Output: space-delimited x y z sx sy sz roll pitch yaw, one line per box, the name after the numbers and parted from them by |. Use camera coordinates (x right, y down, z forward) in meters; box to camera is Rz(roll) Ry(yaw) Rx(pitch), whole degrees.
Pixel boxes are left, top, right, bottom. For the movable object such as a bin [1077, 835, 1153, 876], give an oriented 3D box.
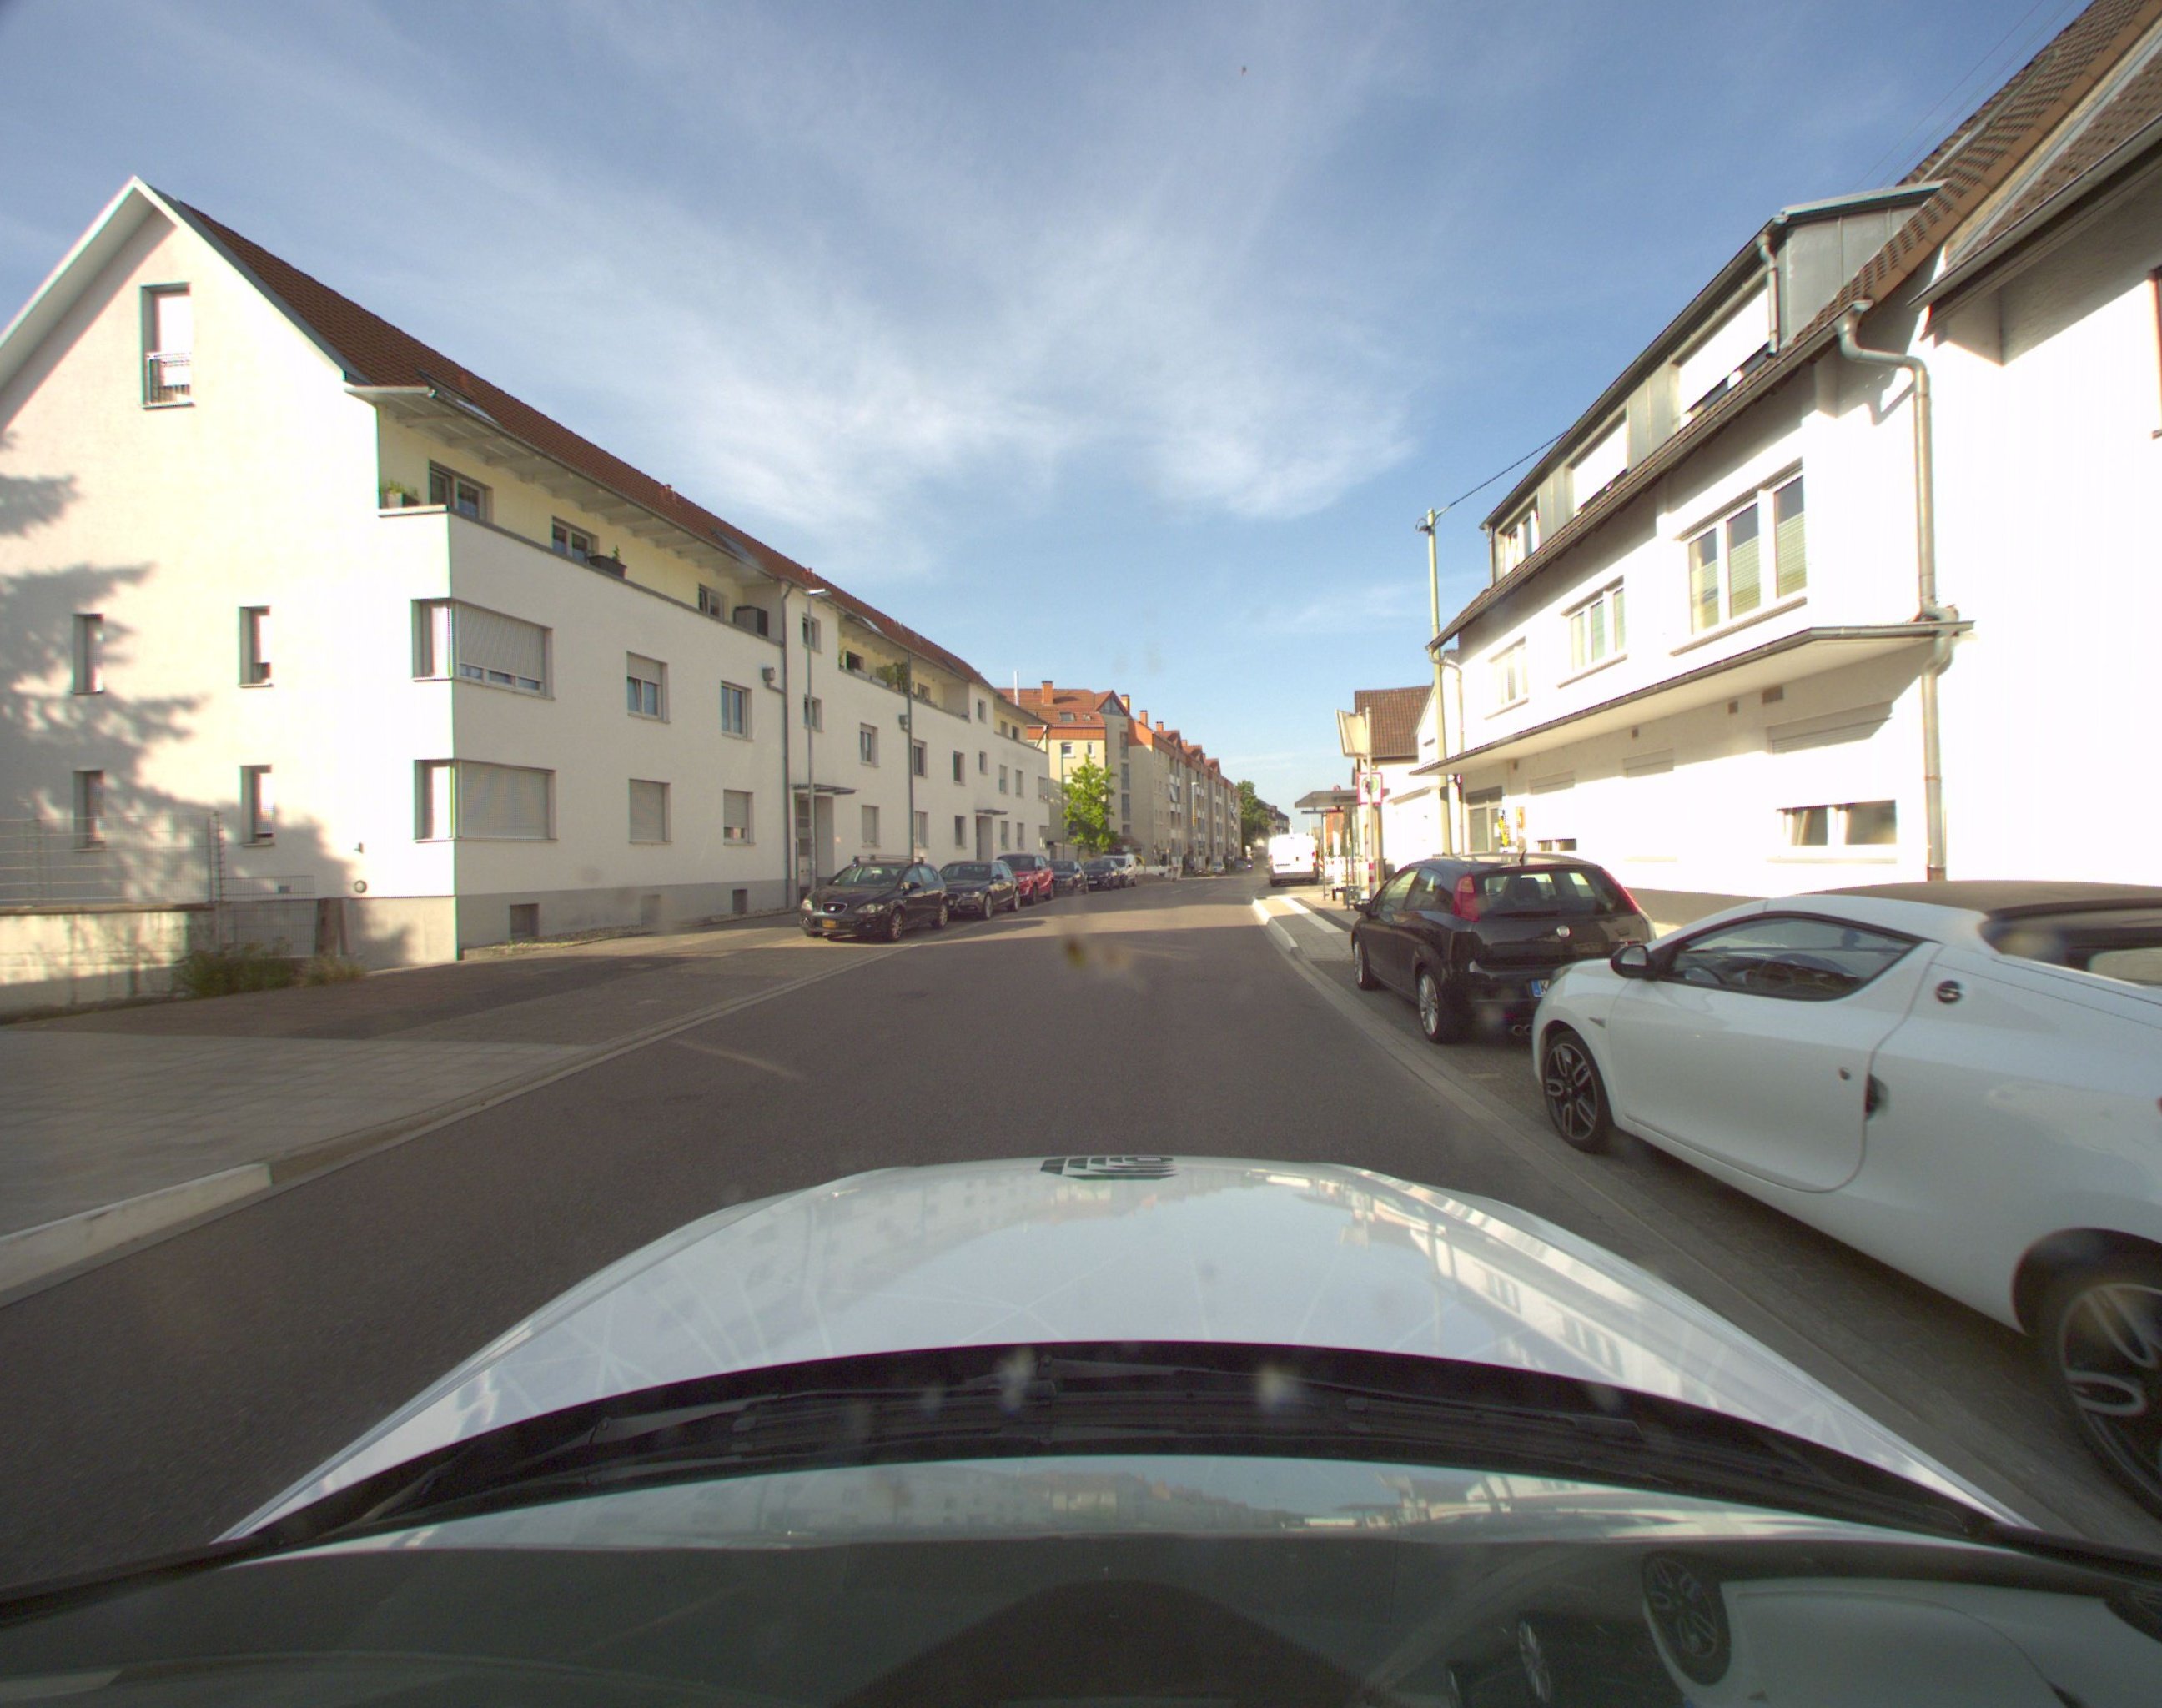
2.553 0.092 60.173 5.475 2.900 2.113 -1 0 2 | movable object such as a bin

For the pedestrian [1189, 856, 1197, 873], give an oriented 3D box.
12.378 1.138 90.207 0.713 1.818 0.749 2 2 18 | pedestrian

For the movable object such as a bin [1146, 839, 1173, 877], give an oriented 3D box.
6.710 0.310 69.411 1.635 3.138 3.917 0 1 16 | movable object such as a bin

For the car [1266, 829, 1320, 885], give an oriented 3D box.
9.845 0.131 37.832 2.158 2.327 5.017 -3 -1 15 | car

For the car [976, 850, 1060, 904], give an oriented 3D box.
-1.989 0.696 26.947 1.716 1.622 4.276 -2 0 10 | car

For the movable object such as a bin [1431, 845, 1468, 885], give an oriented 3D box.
10.748 0.318 23.774 0.806 1.093 0.770 -2 -1 11 | movable object such as a bin

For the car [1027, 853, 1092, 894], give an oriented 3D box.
-0.778 0.730 32.302 1.716 1.478 4.276 0 0 10 | car

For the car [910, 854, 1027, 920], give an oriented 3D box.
-2.809 0.770 21.404 1.716 1.478 4.515 1 0 10 | car

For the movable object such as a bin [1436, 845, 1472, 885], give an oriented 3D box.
10.610 0.316 23.164 0.806 1.093 0.444 -2 -1 10 | movable object such as a bin

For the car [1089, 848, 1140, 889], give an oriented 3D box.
1.804 0.704 42.600 1.715 1.960 4.456 2 1 15 | car

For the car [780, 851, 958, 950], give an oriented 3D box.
-3.985 0.785 16.101 1.765 1.622 4.190 2 1 10 | car

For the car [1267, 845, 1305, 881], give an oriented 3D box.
10.765 0.444 42.627 1.764 1.741 4.501 -3 -1 15 | car

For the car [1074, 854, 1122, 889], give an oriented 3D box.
0.834 0.792 38.153 1.483 1.465 3.526 2 1 13 | car

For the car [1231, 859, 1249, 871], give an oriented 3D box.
18.726 1.264 95.860 1.673 1.406 4.102 -1 0 17 | car

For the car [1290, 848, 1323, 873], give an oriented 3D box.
18.124 0.518 65.286 2.058 1.856 4.633 -3 -1 20 | car

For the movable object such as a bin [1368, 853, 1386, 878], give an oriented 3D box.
14.050 0.548 38.698 0.722 1.132 0.556 -1 -1 15 | movable object such as a bin

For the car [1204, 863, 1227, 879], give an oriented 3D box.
12.968 1.662 78.338 1.628 1.395 3.687 -2 -1 16 | car

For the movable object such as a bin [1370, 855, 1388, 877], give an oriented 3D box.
13.707 0.545 37.428 0.722 0.959 0.556 -1 -1 15 | movable object such as a bin

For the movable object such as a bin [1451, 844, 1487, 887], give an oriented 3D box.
10.171 0.293 21.357 0.692 1.093 0.560 -2 -1 9 | movable object such as a bin

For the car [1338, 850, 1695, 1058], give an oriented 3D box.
3.615 0.689 7.596 1.599 1.421 3.927 -1 0 6 | car

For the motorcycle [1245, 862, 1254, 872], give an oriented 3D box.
17.491 1.353 84.613 0.762 0.985 2.208 0 0 15 | motorcycle

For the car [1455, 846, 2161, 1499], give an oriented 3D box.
3.253 0.679 3.243 1.708 1.398 4.337 -1 0 3 | car

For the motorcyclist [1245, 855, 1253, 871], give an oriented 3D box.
17.491 0.900 84.647 0.763 1.652 0.847 -1 0 14 | motorcyclist

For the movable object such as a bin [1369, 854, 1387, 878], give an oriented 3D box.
13.885 0.557 38.102 0.722 1.093 0.556 -2 -1 15 | movable object such as a bin
